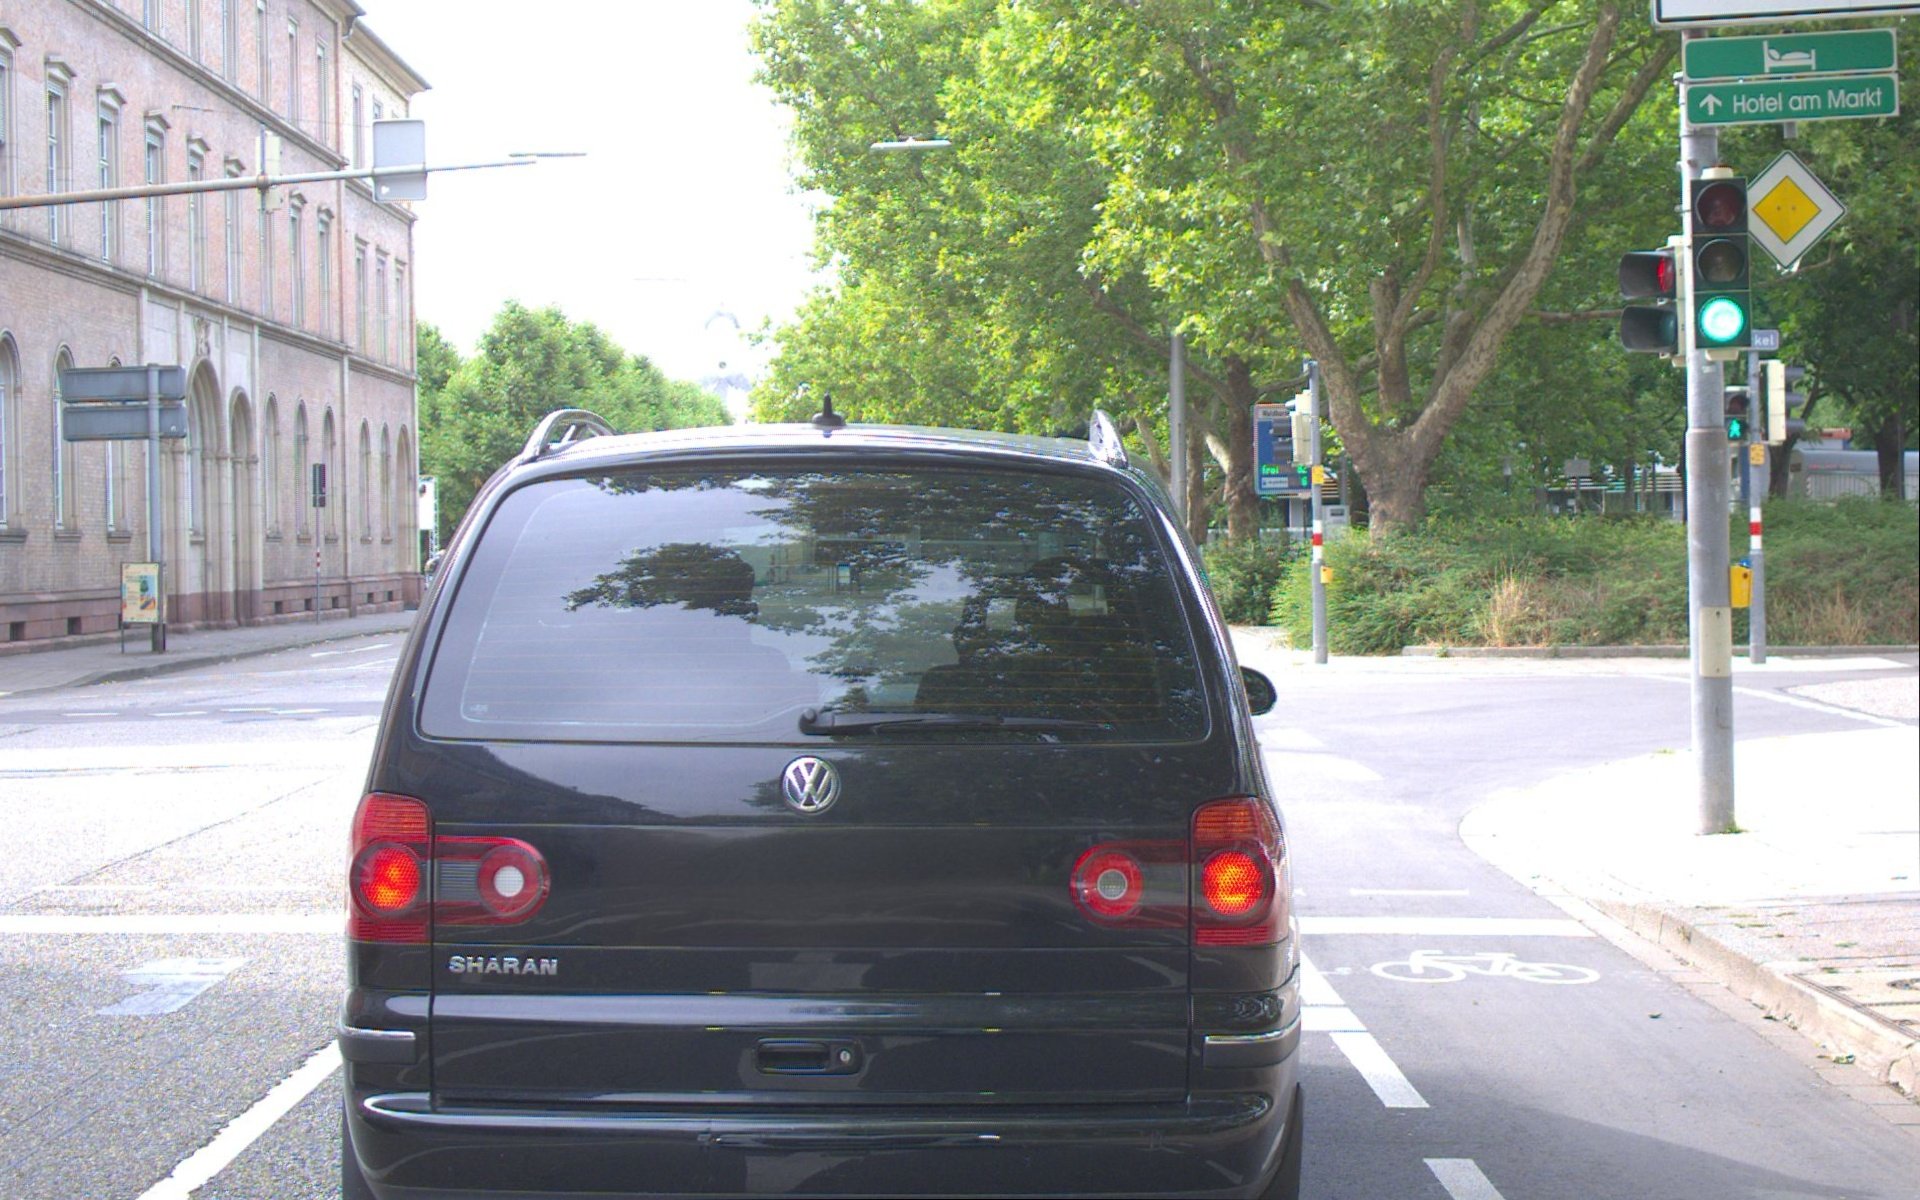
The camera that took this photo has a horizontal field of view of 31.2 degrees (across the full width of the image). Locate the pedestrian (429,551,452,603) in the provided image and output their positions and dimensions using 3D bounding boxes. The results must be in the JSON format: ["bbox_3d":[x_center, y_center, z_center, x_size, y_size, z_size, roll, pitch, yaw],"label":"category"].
[{"bbox_3d":[-14.699,-0.651,97.229,0.557,1.430,0.579,-1,1,-1],"label":"pedestrian"}]

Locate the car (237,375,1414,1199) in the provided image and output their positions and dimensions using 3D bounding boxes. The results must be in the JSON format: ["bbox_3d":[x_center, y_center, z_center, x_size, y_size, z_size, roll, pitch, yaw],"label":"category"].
[{"bbox_3d":[-0.253,0.466,7.805,1.874,1.739,4.574,-1,1,-1],"label":"car"}]

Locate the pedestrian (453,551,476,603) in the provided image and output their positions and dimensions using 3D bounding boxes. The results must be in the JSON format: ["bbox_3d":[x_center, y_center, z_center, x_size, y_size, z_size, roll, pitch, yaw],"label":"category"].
[{"bbox_3d":[-13.959,-0.646,96.852,0.557,1.430,0.579,-1,1,-1],"label":"pedestrian"}]
